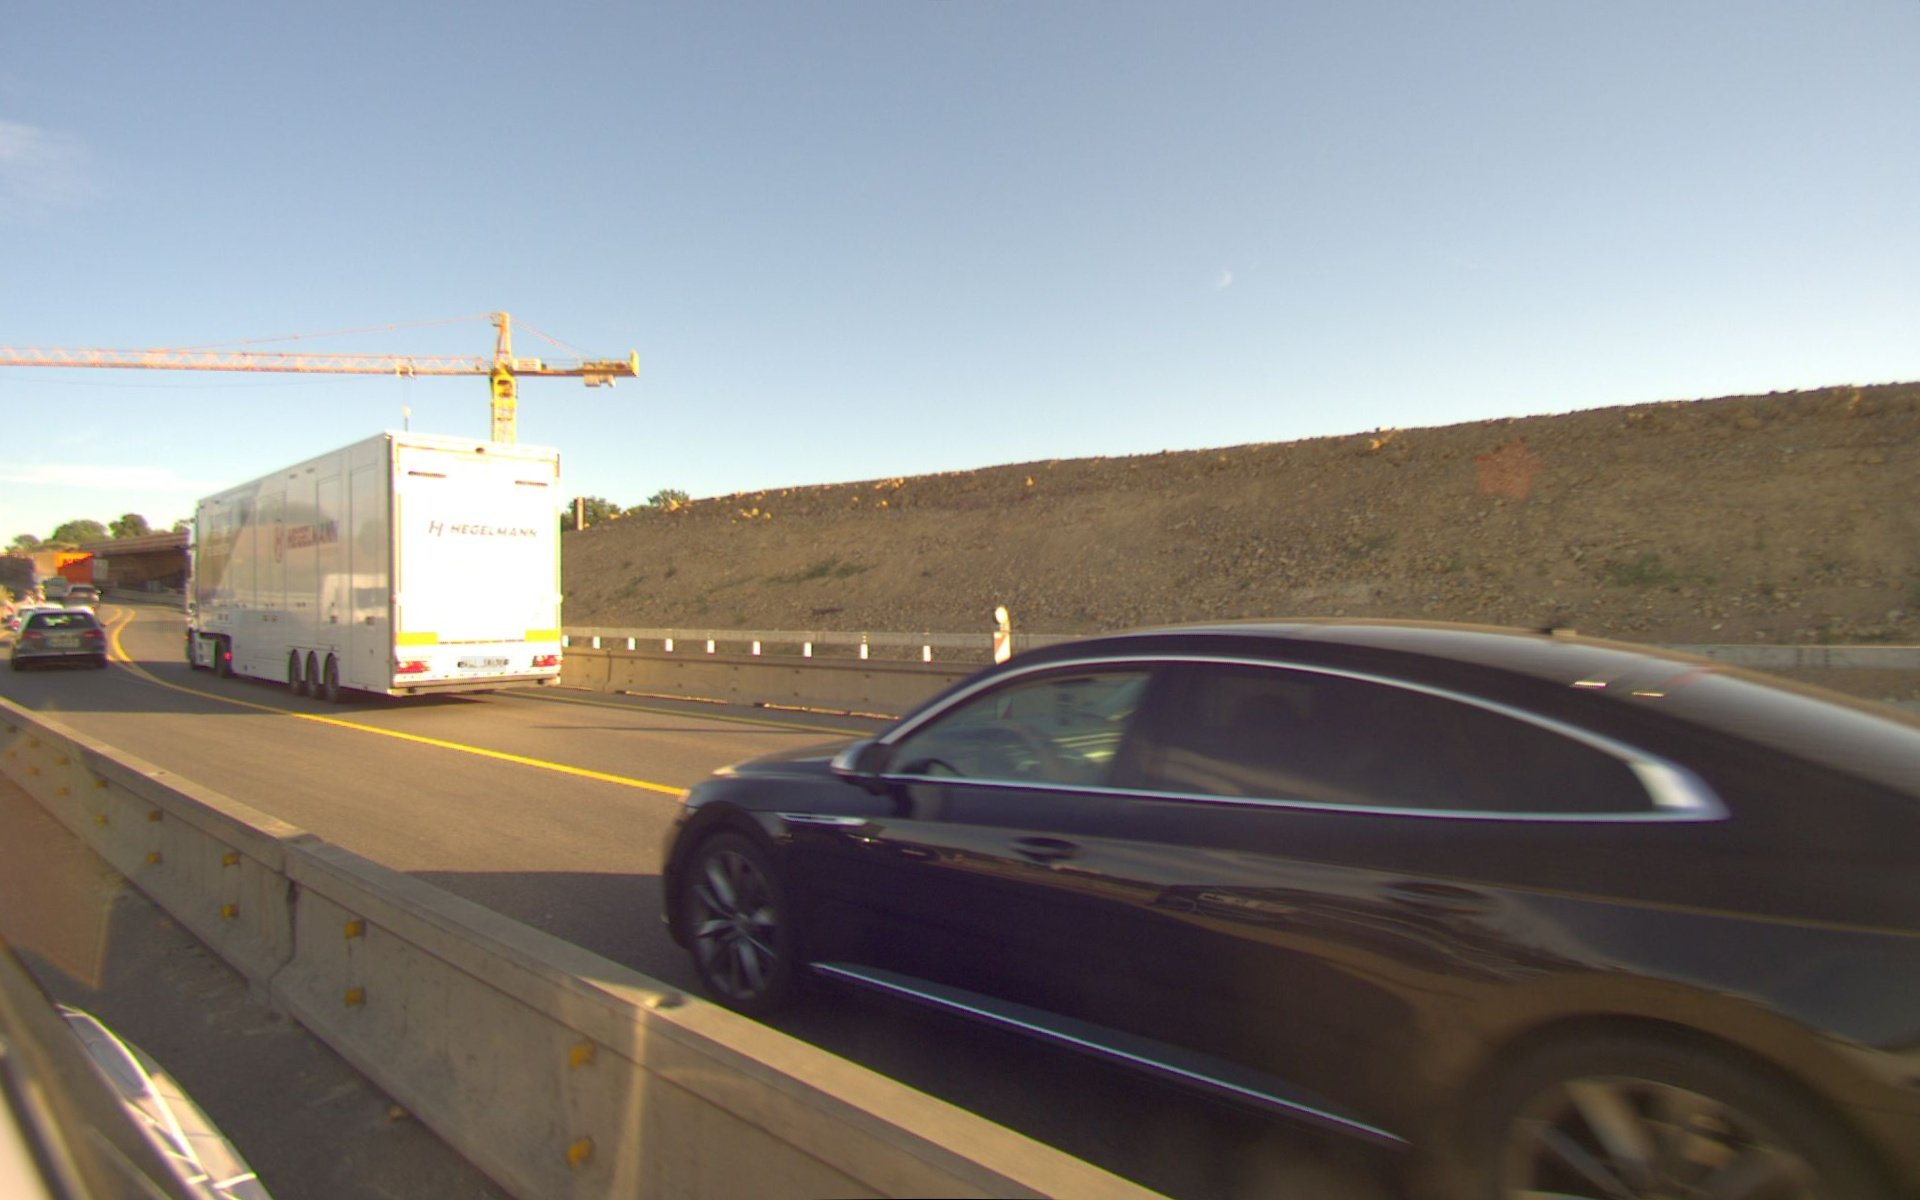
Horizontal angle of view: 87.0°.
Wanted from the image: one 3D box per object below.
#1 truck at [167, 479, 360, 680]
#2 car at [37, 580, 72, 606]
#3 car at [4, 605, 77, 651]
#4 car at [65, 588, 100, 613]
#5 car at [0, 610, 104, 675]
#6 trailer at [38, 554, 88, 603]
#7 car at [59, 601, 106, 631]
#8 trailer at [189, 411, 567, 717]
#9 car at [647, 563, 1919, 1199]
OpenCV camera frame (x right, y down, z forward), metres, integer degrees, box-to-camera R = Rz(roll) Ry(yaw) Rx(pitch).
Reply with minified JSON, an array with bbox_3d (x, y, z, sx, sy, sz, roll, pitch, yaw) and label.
[{"bbox_3d":[-16.851,-0.454,24.325,6.050,4.252,2.525,0,1,43],"label":"truck"},{"bbox_3d":[-76.537,-0.619,85.568,1.969,2.028,5.266,-1,2,-40],"label":"car"},{"bbox_3d":[-33.003,0.959,36.291,1.768,1.500,4.222,0,0,-44],"label":"car"},{"bbox_3d":[-61.002,0.036,70.377,1.767,1.631,4.881,-1,2,-41],"label":"car"},{"bbox_3d":[-22.926,0.995,25.468,1.828,1.494,4.514,1,-1,-44],"label":"car"},{"bbox_3d":[-86.803,-2.141,97.820,14.143,4.504,2.555,2,2,45],"label":"trailer"},{"bbox_3d":[-45.305,0.788,52.255,1.767,1.367,4.642,-1,2,-41],"label":"car"},{"bbox_3d":[-12.095,-0.508,19.765,13.936,4.245,2.503,0,1,44],"label":"trailer"},{"bbox_3d":[1.104,0.672,3.009,4.493,1.420,1.817,-1,-1,41],"label":"car"}]
